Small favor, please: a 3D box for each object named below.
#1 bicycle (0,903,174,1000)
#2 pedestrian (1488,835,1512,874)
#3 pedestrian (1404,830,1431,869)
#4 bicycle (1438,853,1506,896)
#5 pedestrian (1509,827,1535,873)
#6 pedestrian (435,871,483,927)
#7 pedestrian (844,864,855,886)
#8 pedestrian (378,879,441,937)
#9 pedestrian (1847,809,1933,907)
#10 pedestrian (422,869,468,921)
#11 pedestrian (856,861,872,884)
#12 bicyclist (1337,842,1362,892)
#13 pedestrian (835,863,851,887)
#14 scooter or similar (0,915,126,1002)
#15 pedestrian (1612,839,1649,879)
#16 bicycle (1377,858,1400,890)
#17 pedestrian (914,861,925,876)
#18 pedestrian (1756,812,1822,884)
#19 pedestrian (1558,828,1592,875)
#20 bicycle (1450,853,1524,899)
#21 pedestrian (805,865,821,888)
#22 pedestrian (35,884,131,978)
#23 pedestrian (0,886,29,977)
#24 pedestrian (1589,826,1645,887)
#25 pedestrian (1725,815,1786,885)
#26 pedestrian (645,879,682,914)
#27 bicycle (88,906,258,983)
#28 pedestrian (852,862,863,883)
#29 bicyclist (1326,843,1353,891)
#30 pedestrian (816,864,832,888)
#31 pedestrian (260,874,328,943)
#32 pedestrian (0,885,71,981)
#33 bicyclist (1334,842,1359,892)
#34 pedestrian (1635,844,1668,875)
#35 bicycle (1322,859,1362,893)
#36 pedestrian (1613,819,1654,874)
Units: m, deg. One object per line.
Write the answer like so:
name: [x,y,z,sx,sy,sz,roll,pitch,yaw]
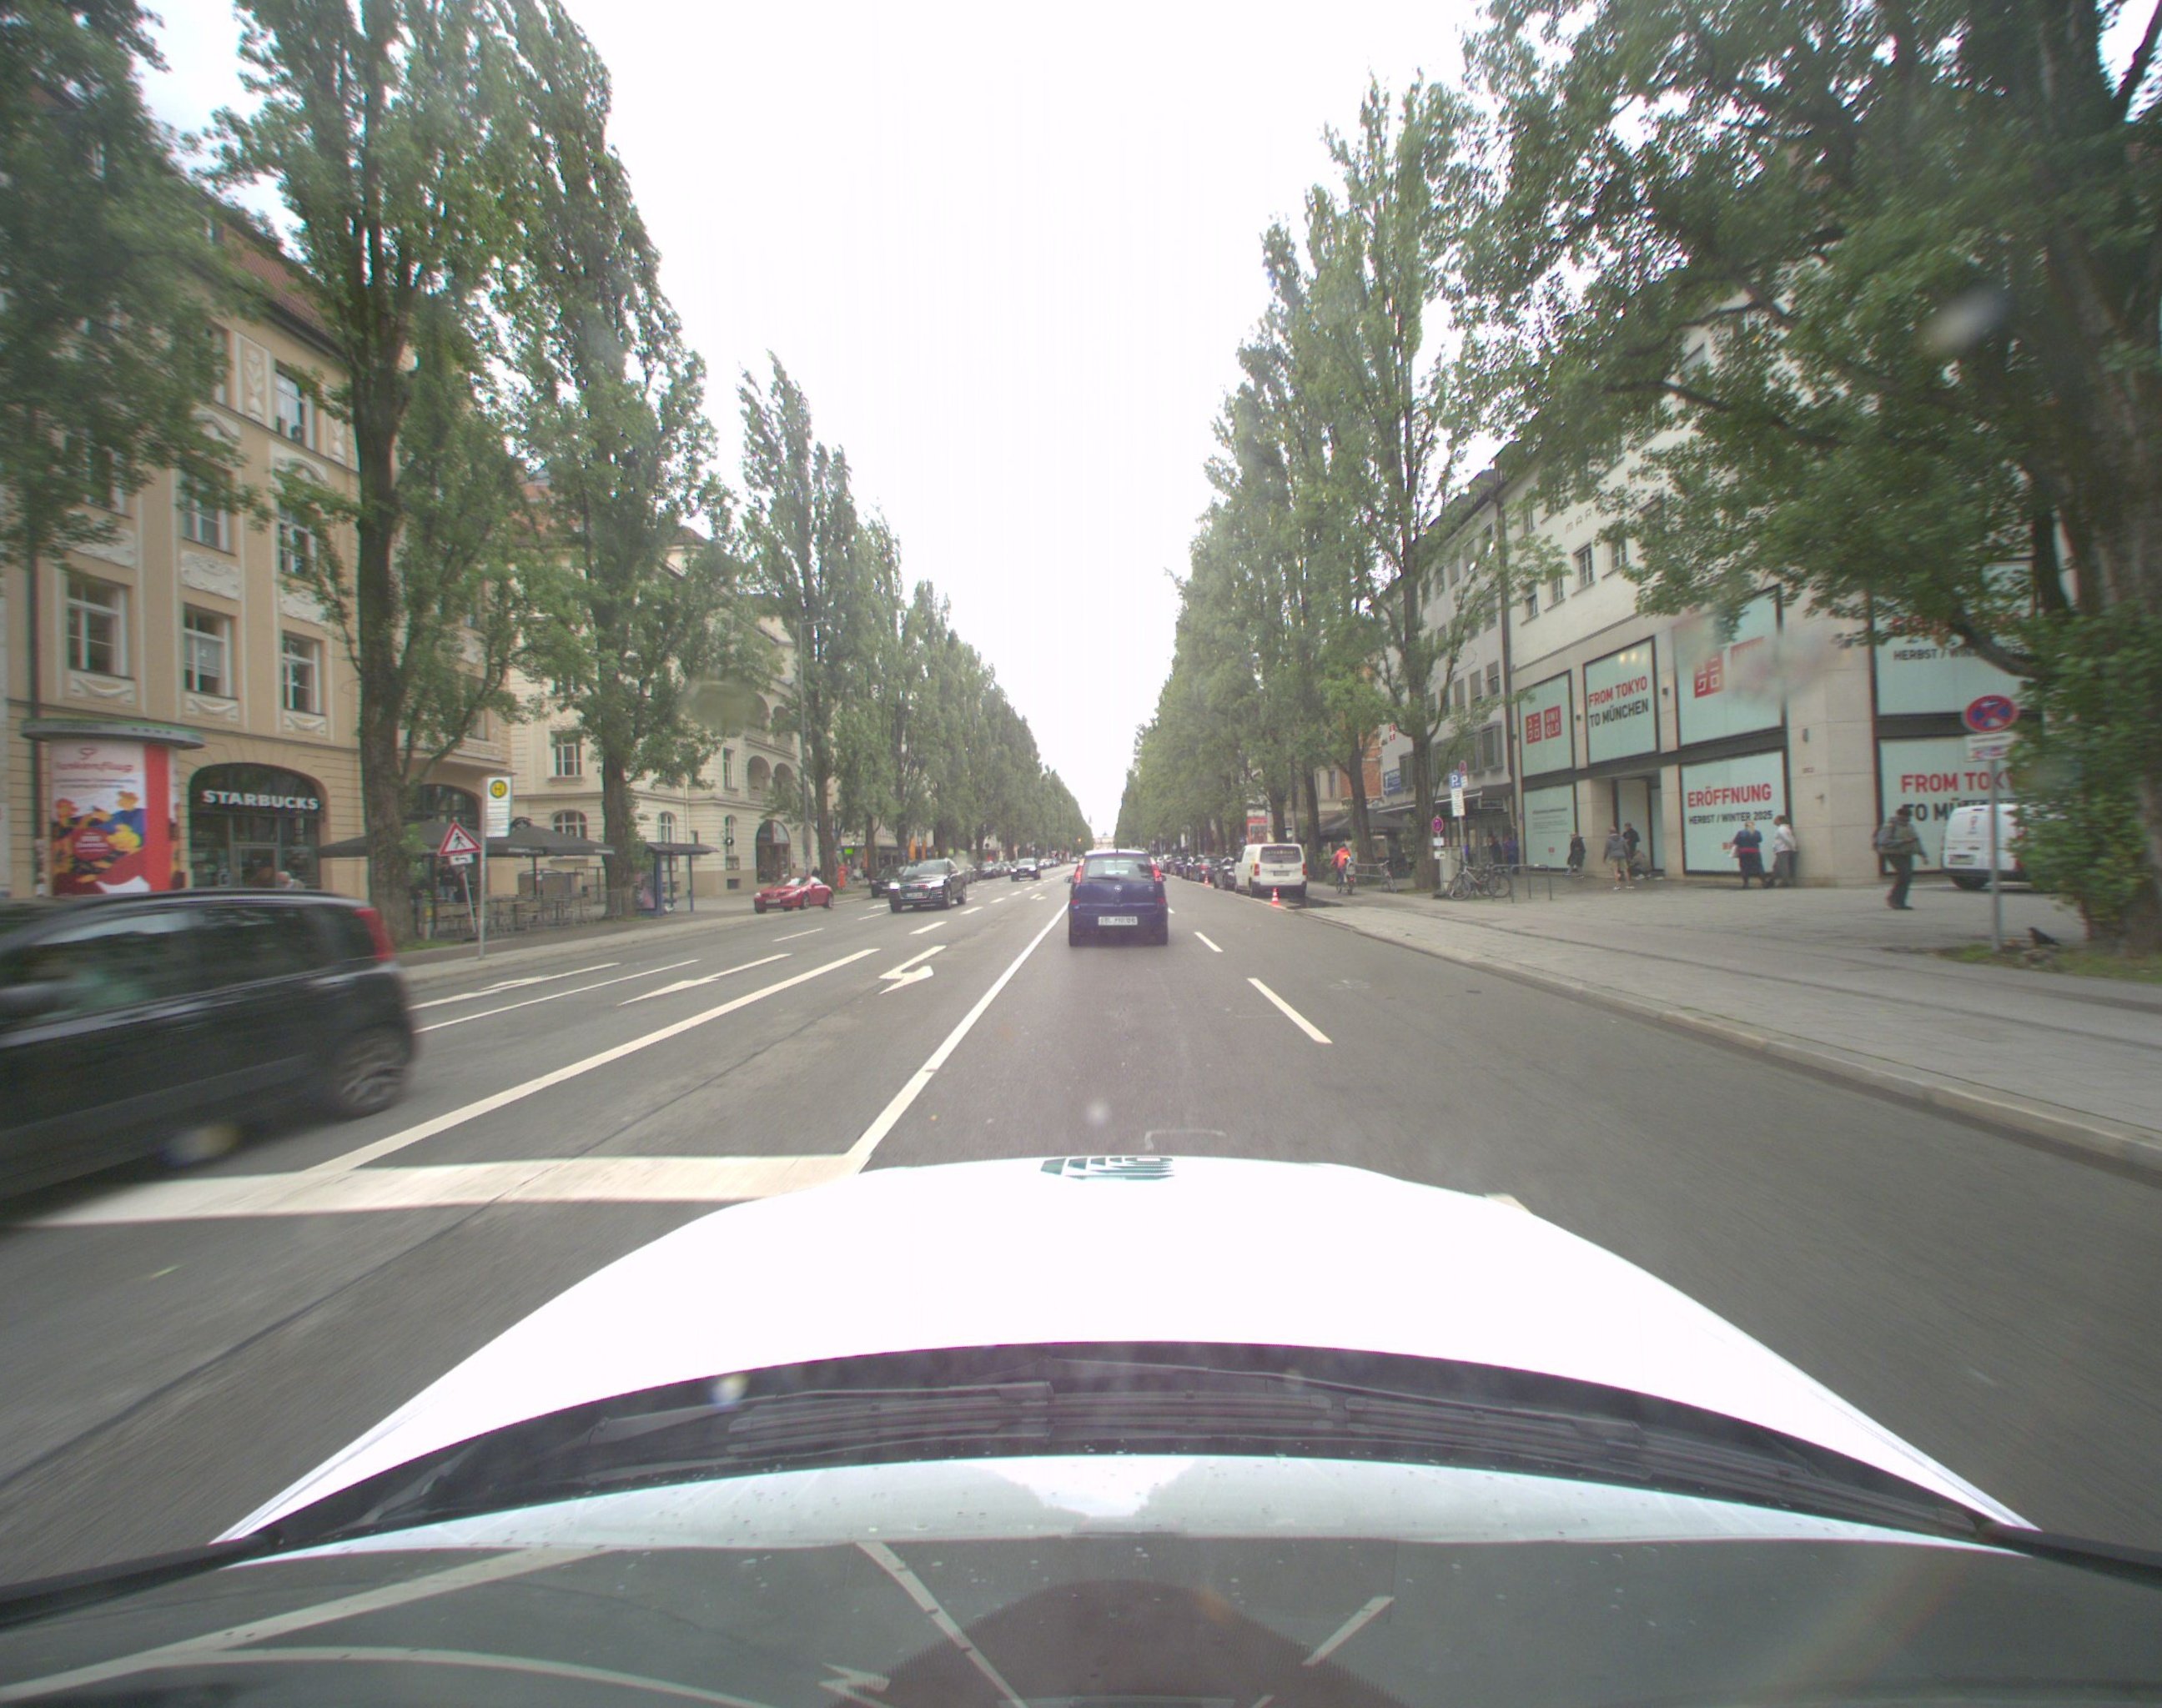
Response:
bicycle: [-15.045,1.432,12.155,1.965,1.289,0.502,0,-1,-41]
pedestrian: [17.553,0.044,34.156,0.666,1.609,0.773,-1,-1,9]
pedestrian: [16.264,-0.195,39.412,0.823,1.841,1.100,-2,0,3]
bicycle: [10.881,0.558,22.677,1.737,1.110,0.447,-2,0,-9]
pedestrian: [18.124,-0.173,33.457,0.861,1.829,0.841,-2,0,29]
pedestrian: [-20.013,1.442,26.204,0.901,1.744,0.822,-1,-1,7]
pedestrian: [-18.906,1.688,66.507,0.623,1.721,0.827,-2,-1,1]
pedestrian: [-20.474,1.635,24.857,1.078,1.685,0.989,-1,-1,1]
pedestrian: [14.381,0.063,14.505,0.557,1.666,0.930,-2,0,3]
pedestrian: [-22.308,1.421,28.580,0.901,1.744,0.822,-2,-1,6]
pedestrian: [-16.659,1.418,62.580,0.848,1.744,1.148,-2,0,2]
bicyclist: [8.800,0.425,26.688,0.619,1.588,0.391,-2,-1,1]
pedestrian: [-17.088,1.470,58.465,0.731,1.673,0.953,-2,0,1]
scooter or similar: [-14.852,1.484,11.592,1.570,1.114,0.384,-2,0,-39]
pedestrian: [17.498,0.152,25.948,0.667,1.234,0.685,-2,0,3]
bicycle: [10.560,0.666,27.989,0.362,1.038,1.735,-2,0,10]
pedestrian: [-18.406,1.637,92.913,0.848,1.744,1.148,-2,0,2]
pedestrian: [17.540,-0.151,20.187,0.747,1.718,0.963,-2,0,2]
pedestrian: [17.524,-0.081,28.886,0.667,1.609,0.829,-2,0,3]
bicycle: [10.942,0.585,21.957,1.758,1.044,0.482,-6,0,-9]
pedestrian: [-18.495,1.528,56.253,0.766,1.537,0.805,-3,0,1]
pedestrian: [-19.984,1.524,16.323,0.797,1.787,0.912,0,0,2]
pedestrian: [-19.135,1.354,14.019,0.748,1.567,0.989,-1,-1,1]
pedestrian: [15.138,0.074,23.010,0.986,1.673,0.821,-2,0,-16]
pedestrian: [16.718,-0.102,20.208,0.649,1.663,0.963,-2,0,2]
pedestrian: [-15.468,1.578,30.181,0.957,1.256,0.758,0,0,4]
bicycle: [-15.060,1.471,13.582,0.502,1.088,1.820,-1,-1,25]
pedestrian: [-18.257,1.511,66.518,0.623,1.721,0.827,-2,-1,1]
bicyclist: [8.815,0.436,27.793,0.619,1.588,0.753,-2,-1,1]
pedestrian: [-17.647,1.509,55.935,0.766,1.537,0.805,-3,0,1]
pedestrian: [-20.463,1.397,21.198,0.840,1.744,0.955,-1,-1,2]
pedestrian: [-18.384,1.344,14.014,0.748,1.567,0.989,-1,-1,1]
bicyclist: [8.807,0.429,27.026,0.619,1.588,0.481,-2,-1,1]
pedestrian: [18.181,0.169,25.954,0.568,0.969,0.672,-2,0,3]
bicycle: [8.826,0.713,27.626,0.624,1.087,2.264,-2,0,1]
pedestrian: [18.284,-0.251,26.970,0.681,1.764,0.866,-2,0,-4]
